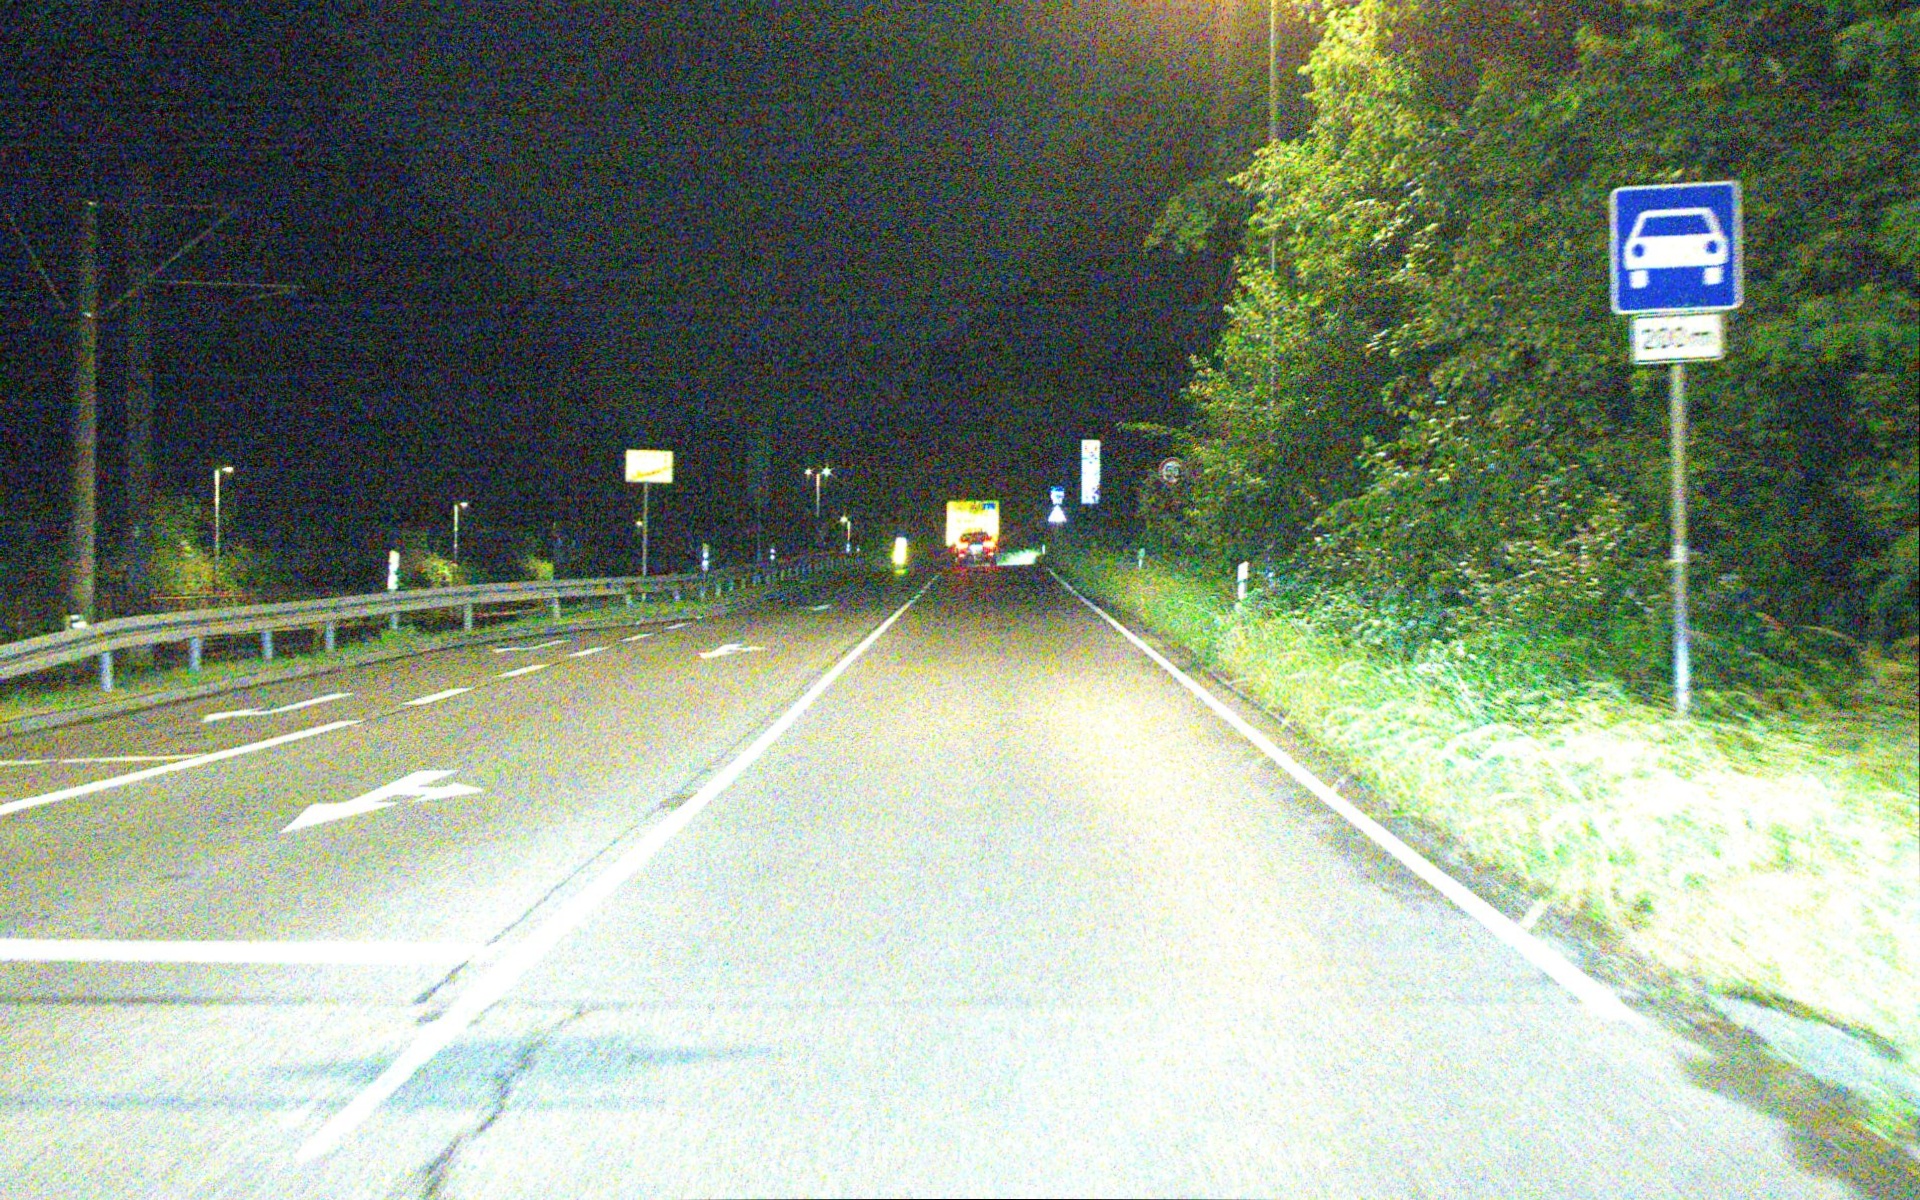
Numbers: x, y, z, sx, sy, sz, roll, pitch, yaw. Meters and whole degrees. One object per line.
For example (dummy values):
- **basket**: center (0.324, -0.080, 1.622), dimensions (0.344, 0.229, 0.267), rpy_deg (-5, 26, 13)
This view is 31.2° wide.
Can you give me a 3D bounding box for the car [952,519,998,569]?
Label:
- **car**: center (0.668, -2.517, 155.856), dimensions (1.993, 2.007, 4.000), rpy_deg (1, -2, 0)
